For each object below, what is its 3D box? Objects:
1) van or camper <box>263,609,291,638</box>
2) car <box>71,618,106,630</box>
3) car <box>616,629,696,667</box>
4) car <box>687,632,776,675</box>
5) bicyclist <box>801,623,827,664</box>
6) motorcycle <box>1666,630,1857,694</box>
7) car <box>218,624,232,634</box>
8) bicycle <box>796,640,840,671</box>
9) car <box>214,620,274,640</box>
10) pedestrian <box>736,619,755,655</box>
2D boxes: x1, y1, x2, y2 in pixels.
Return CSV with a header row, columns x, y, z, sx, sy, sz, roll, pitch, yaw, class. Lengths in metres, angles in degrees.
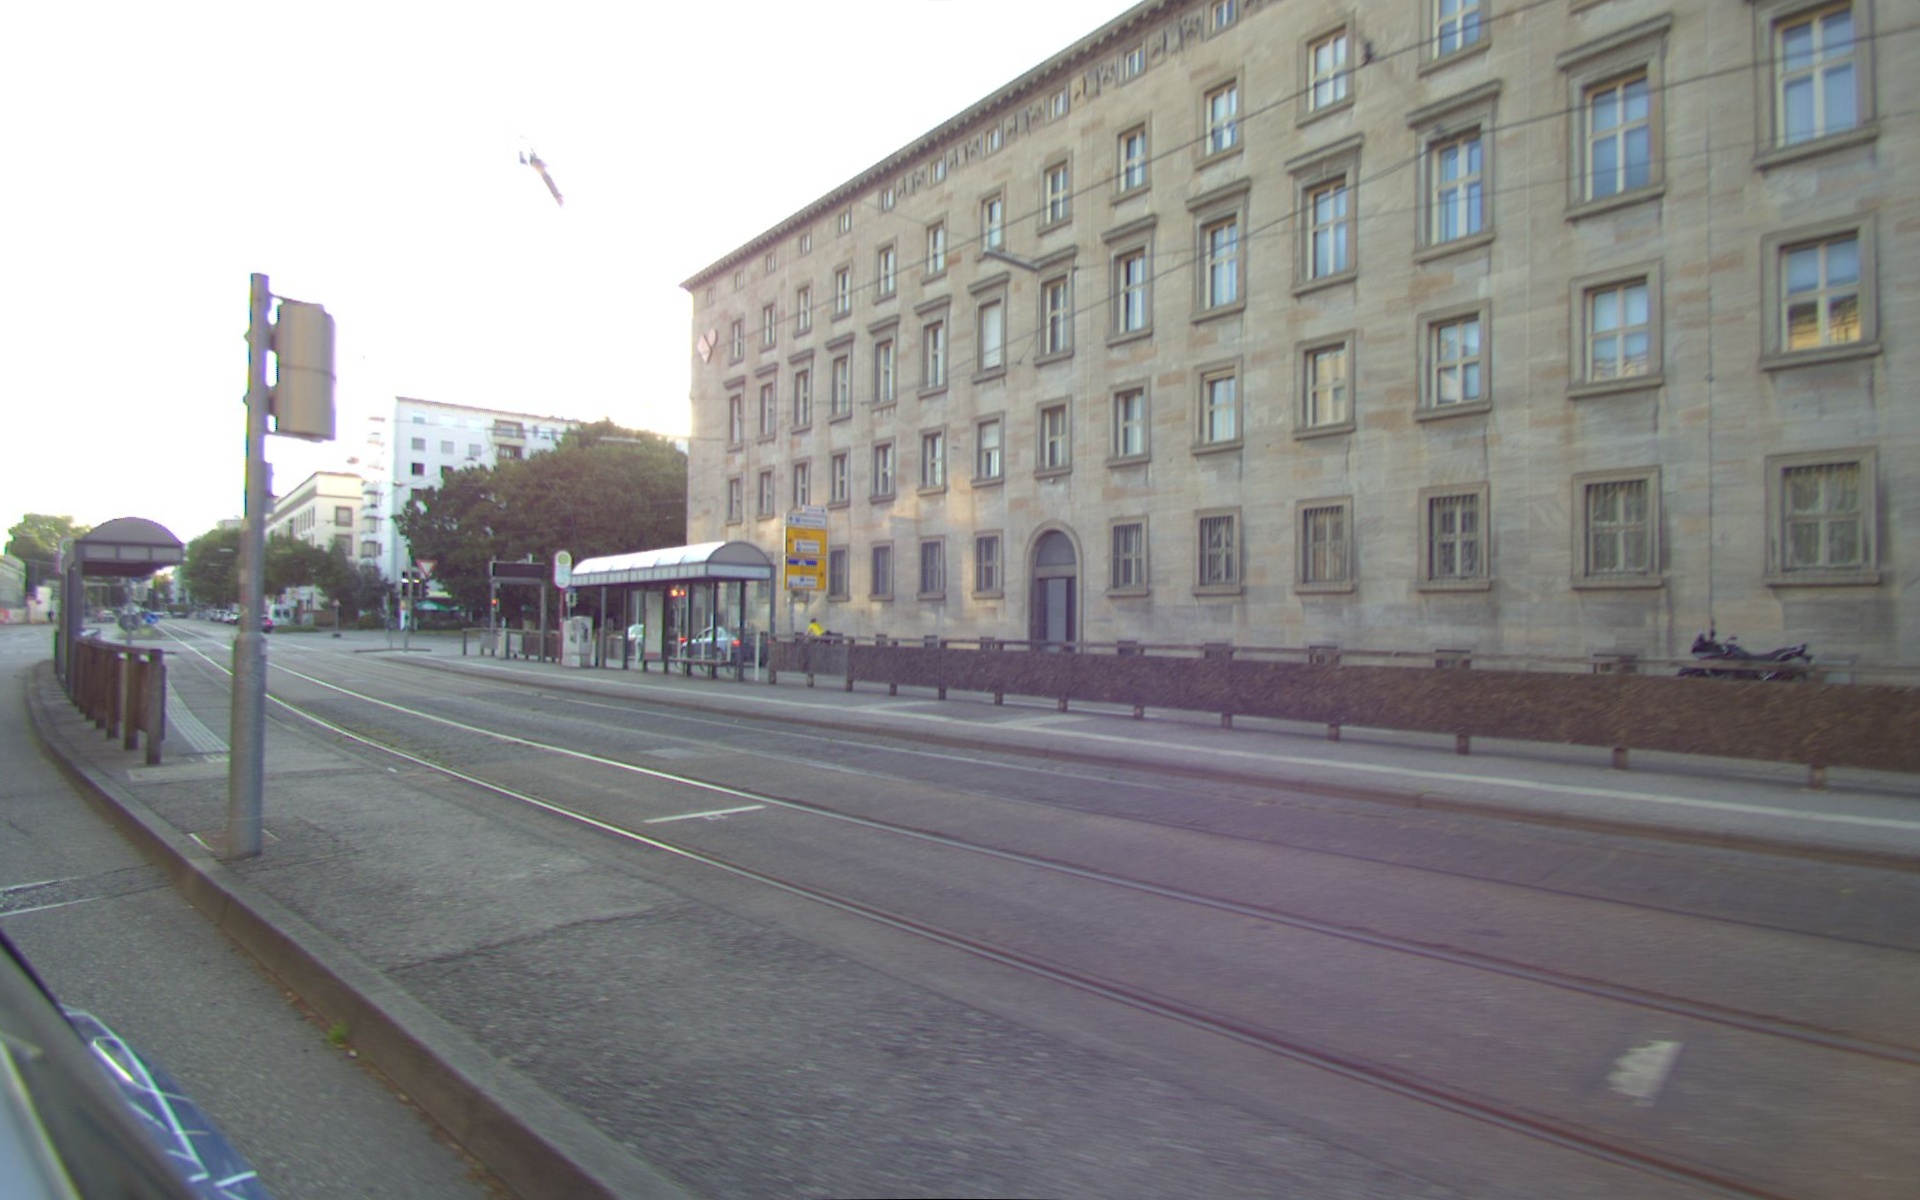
x,y,z,sx,sy,sz,roll,pitch,yaw,class
-68.806,2.405,101.911,2.078,2.702,4.719,1,-4,-38,van or camper
-126.225,3.517,146.566,3.749,1.661,1.866,1,-2,-40,car
-12.474,1.915,41.349,1.622,1.438,4.239,1,-2,-40,car
-8.264,1.885,36.466,1.622,1.438,3.711,1,-2,-40,car
-5.213,1.559,36.136,0.746,1.452,0.598,2,-2,-39,bicyclist
14.587,1.099,18.517,0.689,1.083,2.658,2,-3,-40,motorcycle
-110.434,4.317,152.092,1.695,1.441,3.818,1,-2,-36,car
-5.031,1.947,35.882,0.732,1.025,1.764,1,-2,-39,bicycle
-62.855,2.632,88.892,4.299,1.676,1.880,0,-2,11,car
-10.332,1.790,48.695,0.686,1.723,0.647,1,-2,-37,pedestrian
